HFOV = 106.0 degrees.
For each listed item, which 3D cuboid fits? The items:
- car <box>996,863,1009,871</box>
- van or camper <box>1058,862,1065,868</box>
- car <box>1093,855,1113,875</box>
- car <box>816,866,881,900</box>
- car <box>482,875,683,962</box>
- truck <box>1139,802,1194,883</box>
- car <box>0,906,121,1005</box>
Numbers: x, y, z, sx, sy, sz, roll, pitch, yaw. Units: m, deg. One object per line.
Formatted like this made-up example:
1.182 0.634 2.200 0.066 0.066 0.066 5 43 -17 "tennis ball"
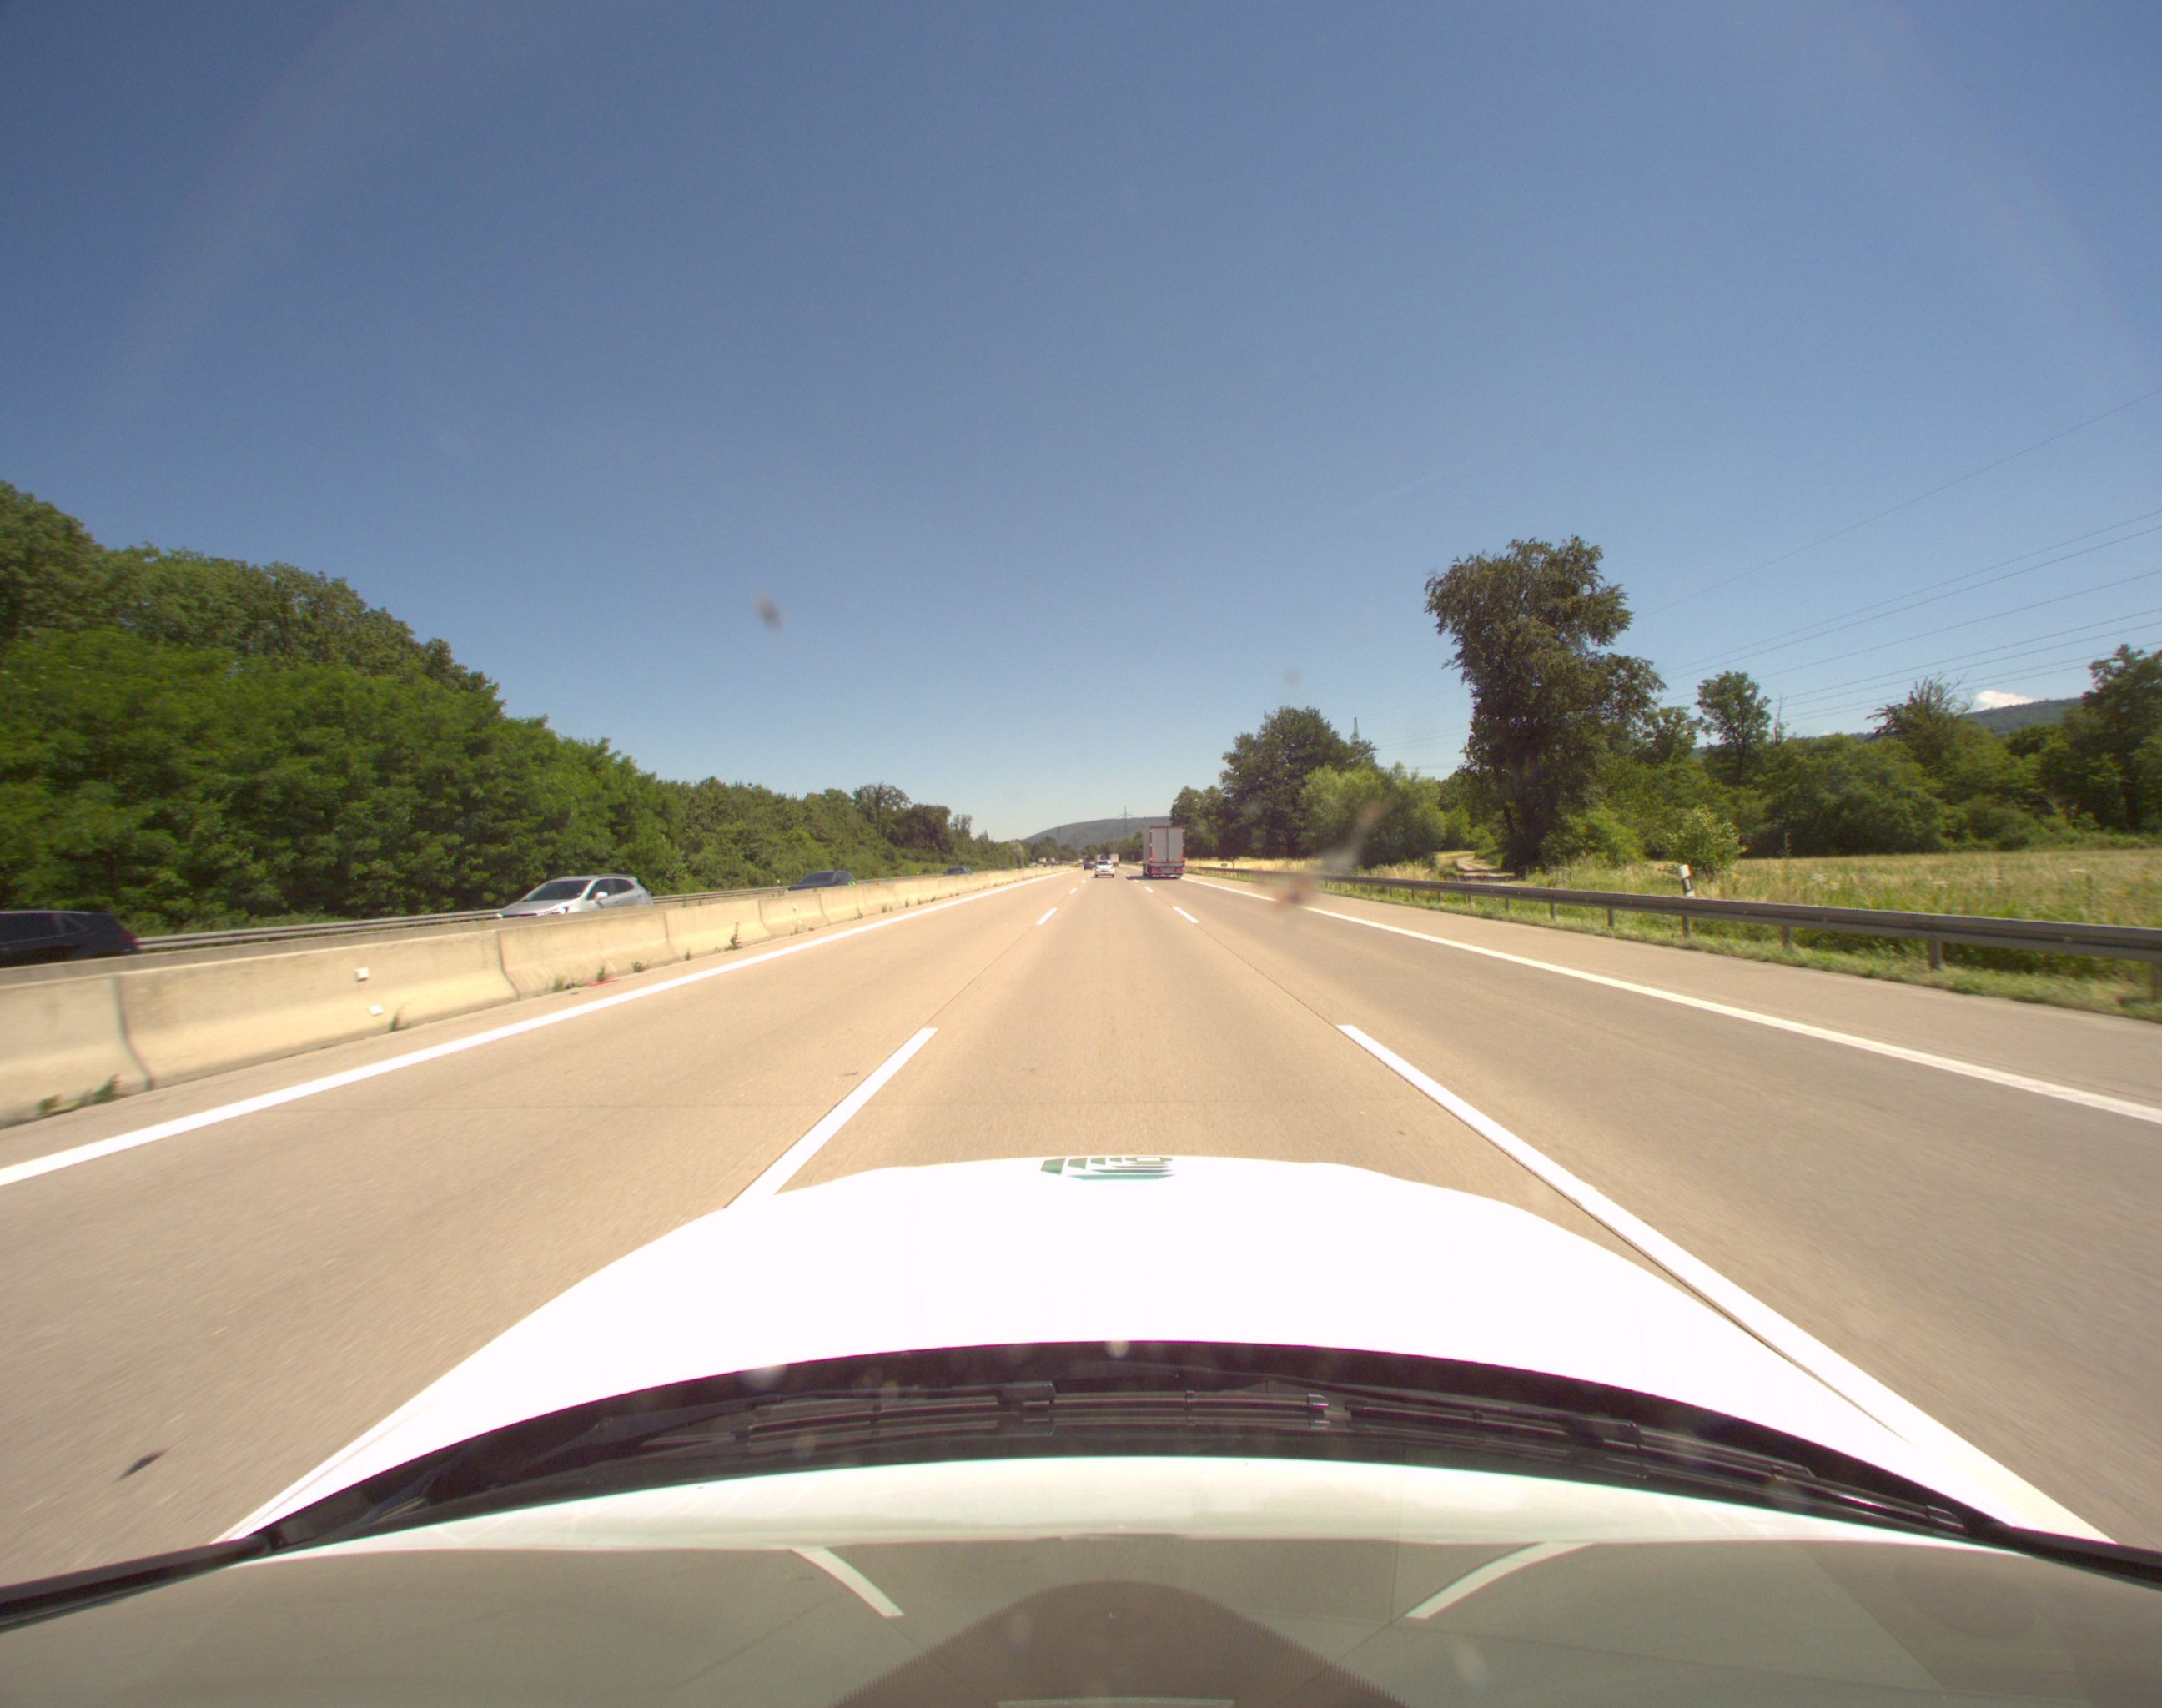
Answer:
-12.968 2.171 134.624 1.671 1.315 4.860 -1 0 0 "car"
-6.111 3.526 254.305 1.841 1.882 4.417 -2 -1 1 "van or camper"
1.932 0.941 70.889 1.635 1.662 3.361 0 0 2 "car"
-10.730 1.301 37.857 1.692 1.417 4.017 -1 0 2 "car"
-11.903 1.453 19.931 1.703 1.678 4.930 -3 0 1 "car"
6.885 -0.813 68.633 3.562 5.787 18.261 -1 0 3 "truck"
-16.195 1.513 11.216 1.560 1.319 3.633 -2 0 1 "car"
